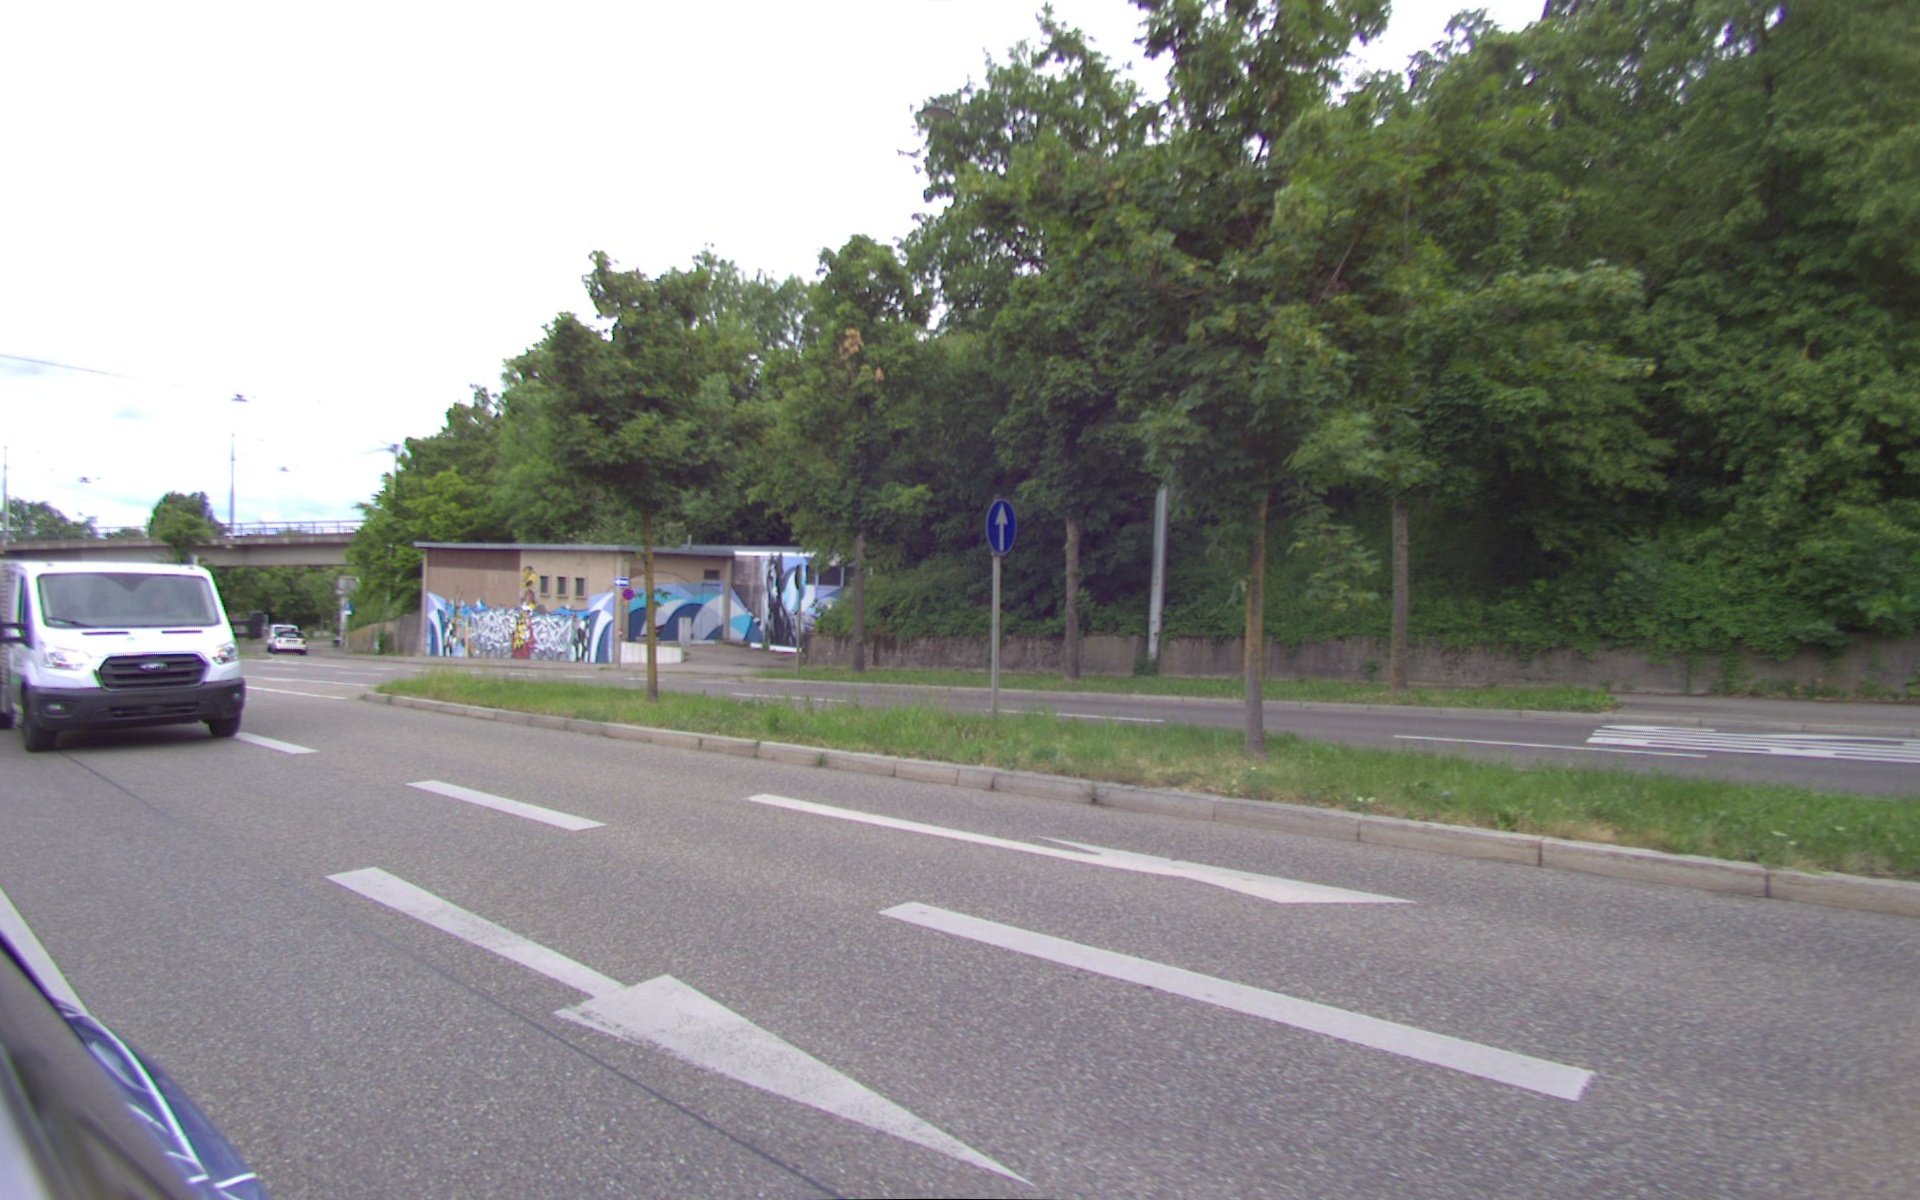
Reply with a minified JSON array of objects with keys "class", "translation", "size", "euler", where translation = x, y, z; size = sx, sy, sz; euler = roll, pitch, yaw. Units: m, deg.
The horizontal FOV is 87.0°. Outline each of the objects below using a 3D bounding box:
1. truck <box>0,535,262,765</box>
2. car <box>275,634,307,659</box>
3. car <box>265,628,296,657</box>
[{"class":"truck","translation":[-11.317,0.541,13.146],"size":[6.325,2.339,2.055],"euler":[-1,-1,39]},{"class":"car","translation":[-41.587,2.870,62.924],"size":[1.610,1.431,4.010],"euler":[-1,0,-34]},{"class":"car","translation":[-45.381,2.796,67.596],"size":[1.610,1.817,4.010],"euler":[-1,0,-34]}]
